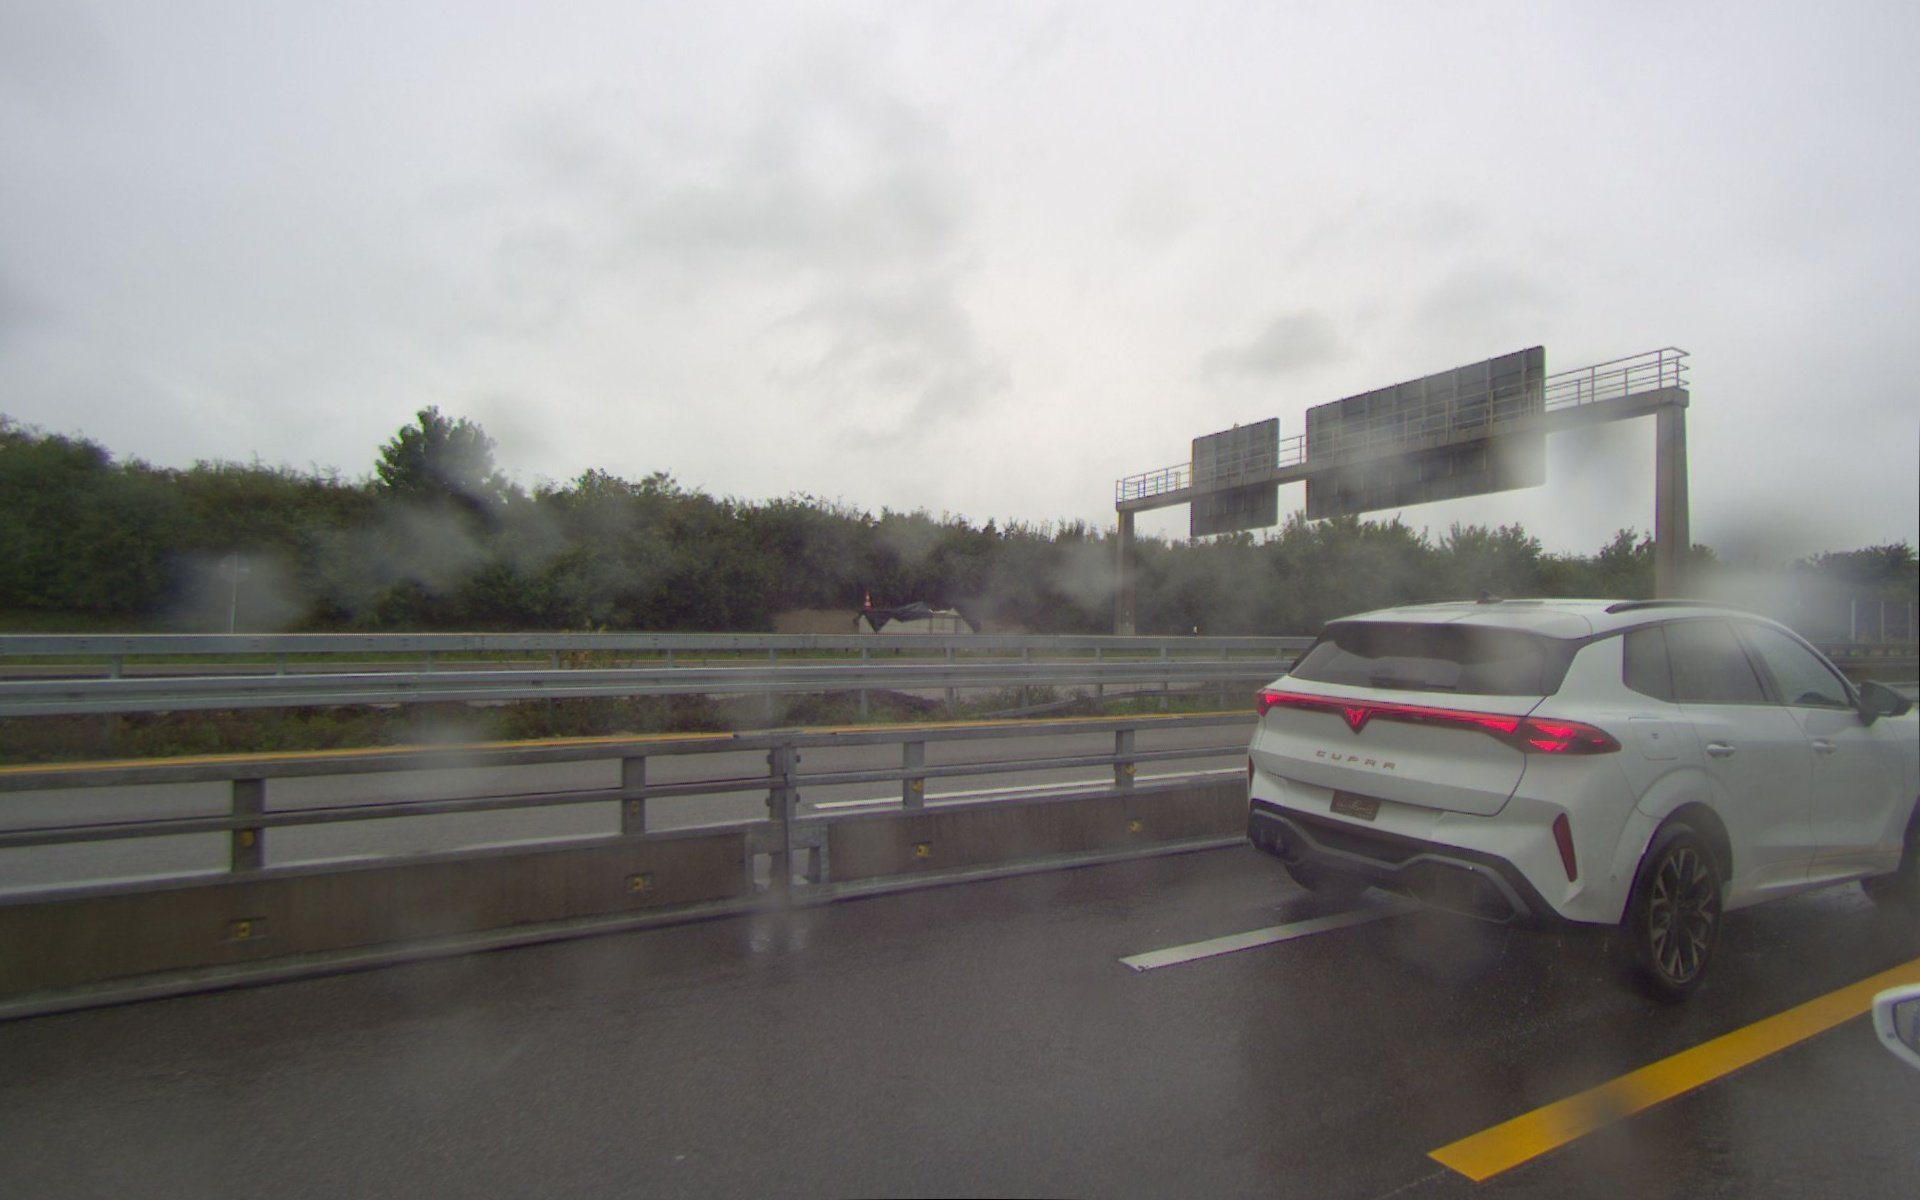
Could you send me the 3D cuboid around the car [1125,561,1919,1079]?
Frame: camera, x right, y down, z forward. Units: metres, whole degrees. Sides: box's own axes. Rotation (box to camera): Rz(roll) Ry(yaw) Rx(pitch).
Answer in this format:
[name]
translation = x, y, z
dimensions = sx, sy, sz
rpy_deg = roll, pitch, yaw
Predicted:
[car]
translation = 3.353, 0.752, 5.247
dimensions = 4.740, 1.639, 1.984
rpy_deg = 2, 0, -30
